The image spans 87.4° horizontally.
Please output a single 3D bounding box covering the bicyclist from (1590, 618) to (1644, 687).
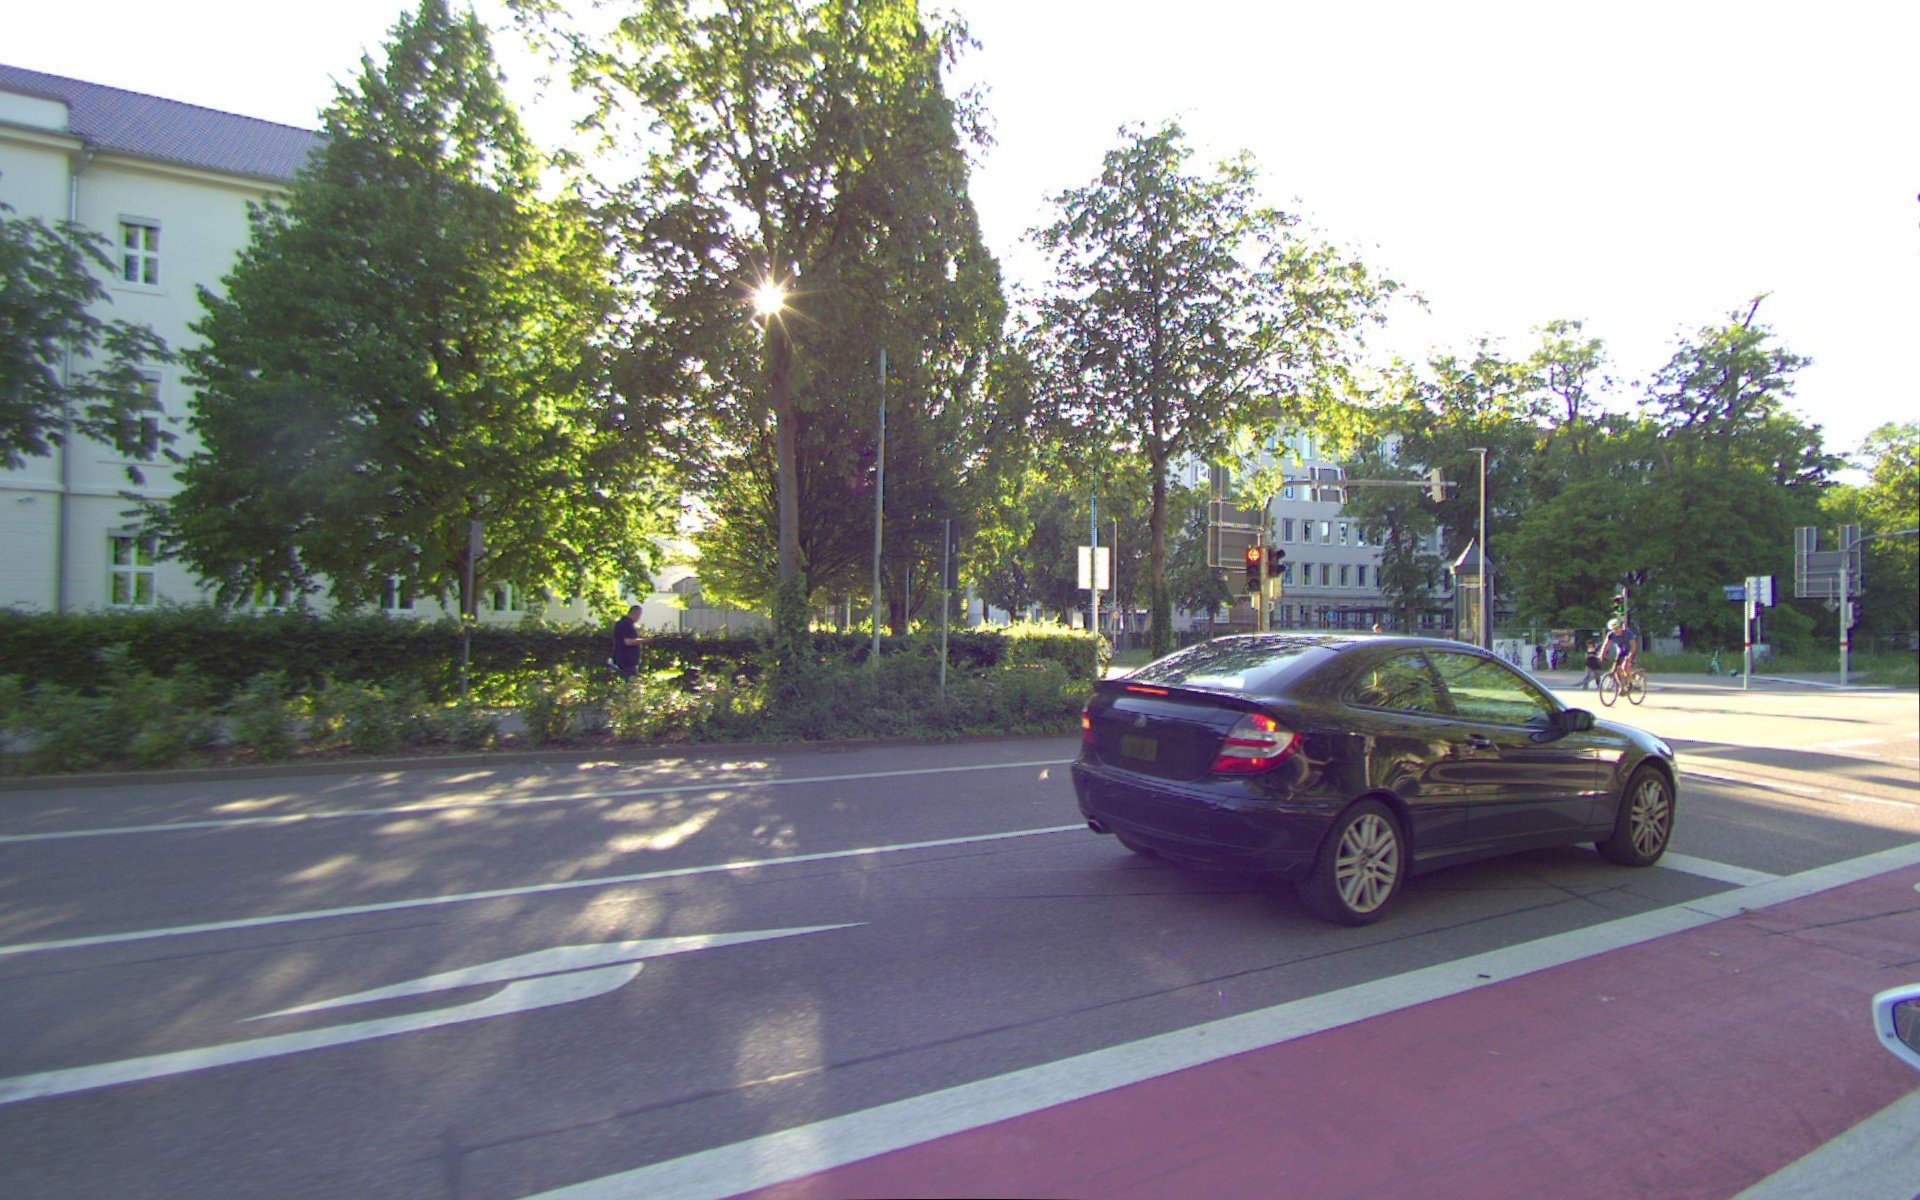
[{"bbox_3d":[14.297,1.137,21.873,0.748,1.485,0.694,1,-2,-26],"label":"bicyclist"}]

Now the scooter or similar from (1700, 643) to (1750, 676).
[{"bbox_3d":[31.016,2.397,40.745,1.466,1.311,0.696,0,-2,0],"label":"scooter or similar"}]

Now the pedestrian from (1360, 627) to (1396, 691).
[{"bbox_3d":[12.114,1.706,29.130,0.670,1.840,0.689,1,-2,-21],"label":"pedestrian"}]

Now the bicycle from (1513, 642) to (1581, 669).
[{"bbox_3d":[26.338,2.492,45.120,0.967,1.150,2.564,1,-2,-25],"label":"bicycle"}]

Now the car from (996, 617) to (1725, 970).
[{"bbox_3d":[2.567,0.880,6.077,4.474,1.437,1.709,2,0,-30],"label":"car"}]

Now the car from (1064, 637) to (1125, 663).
[{"bbox_3d":[8.467,3.129,63.476,2.038,1.559,4.238,1,-2,-21],"label":"car"}]

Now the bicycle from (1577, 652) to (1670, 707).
[{"bbox_3d":[14.528,1.715,21.981,2.161,1.131,0.694,1,-2,-26],"label":"bicycle"}]

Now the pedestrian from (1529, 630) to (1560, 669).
[{"bbox_3d":[26.026,2.193,44.736,0.634,1.718,0.974,1,-2,-25],"label":"pedestrian"}]

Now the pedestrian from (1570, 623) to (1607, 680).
[{"bbox_3d":[20.708,1.696,33.085,0.716,1.840,0.742,1,-2,-21],"label":"pedestrian"}]

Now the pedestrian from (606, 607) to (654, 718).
[{"bbox_3d":[-5.215,0.975,15.857,0.670,1.703,0.689,1,-2,-21],"label":"pedestrian"}]
